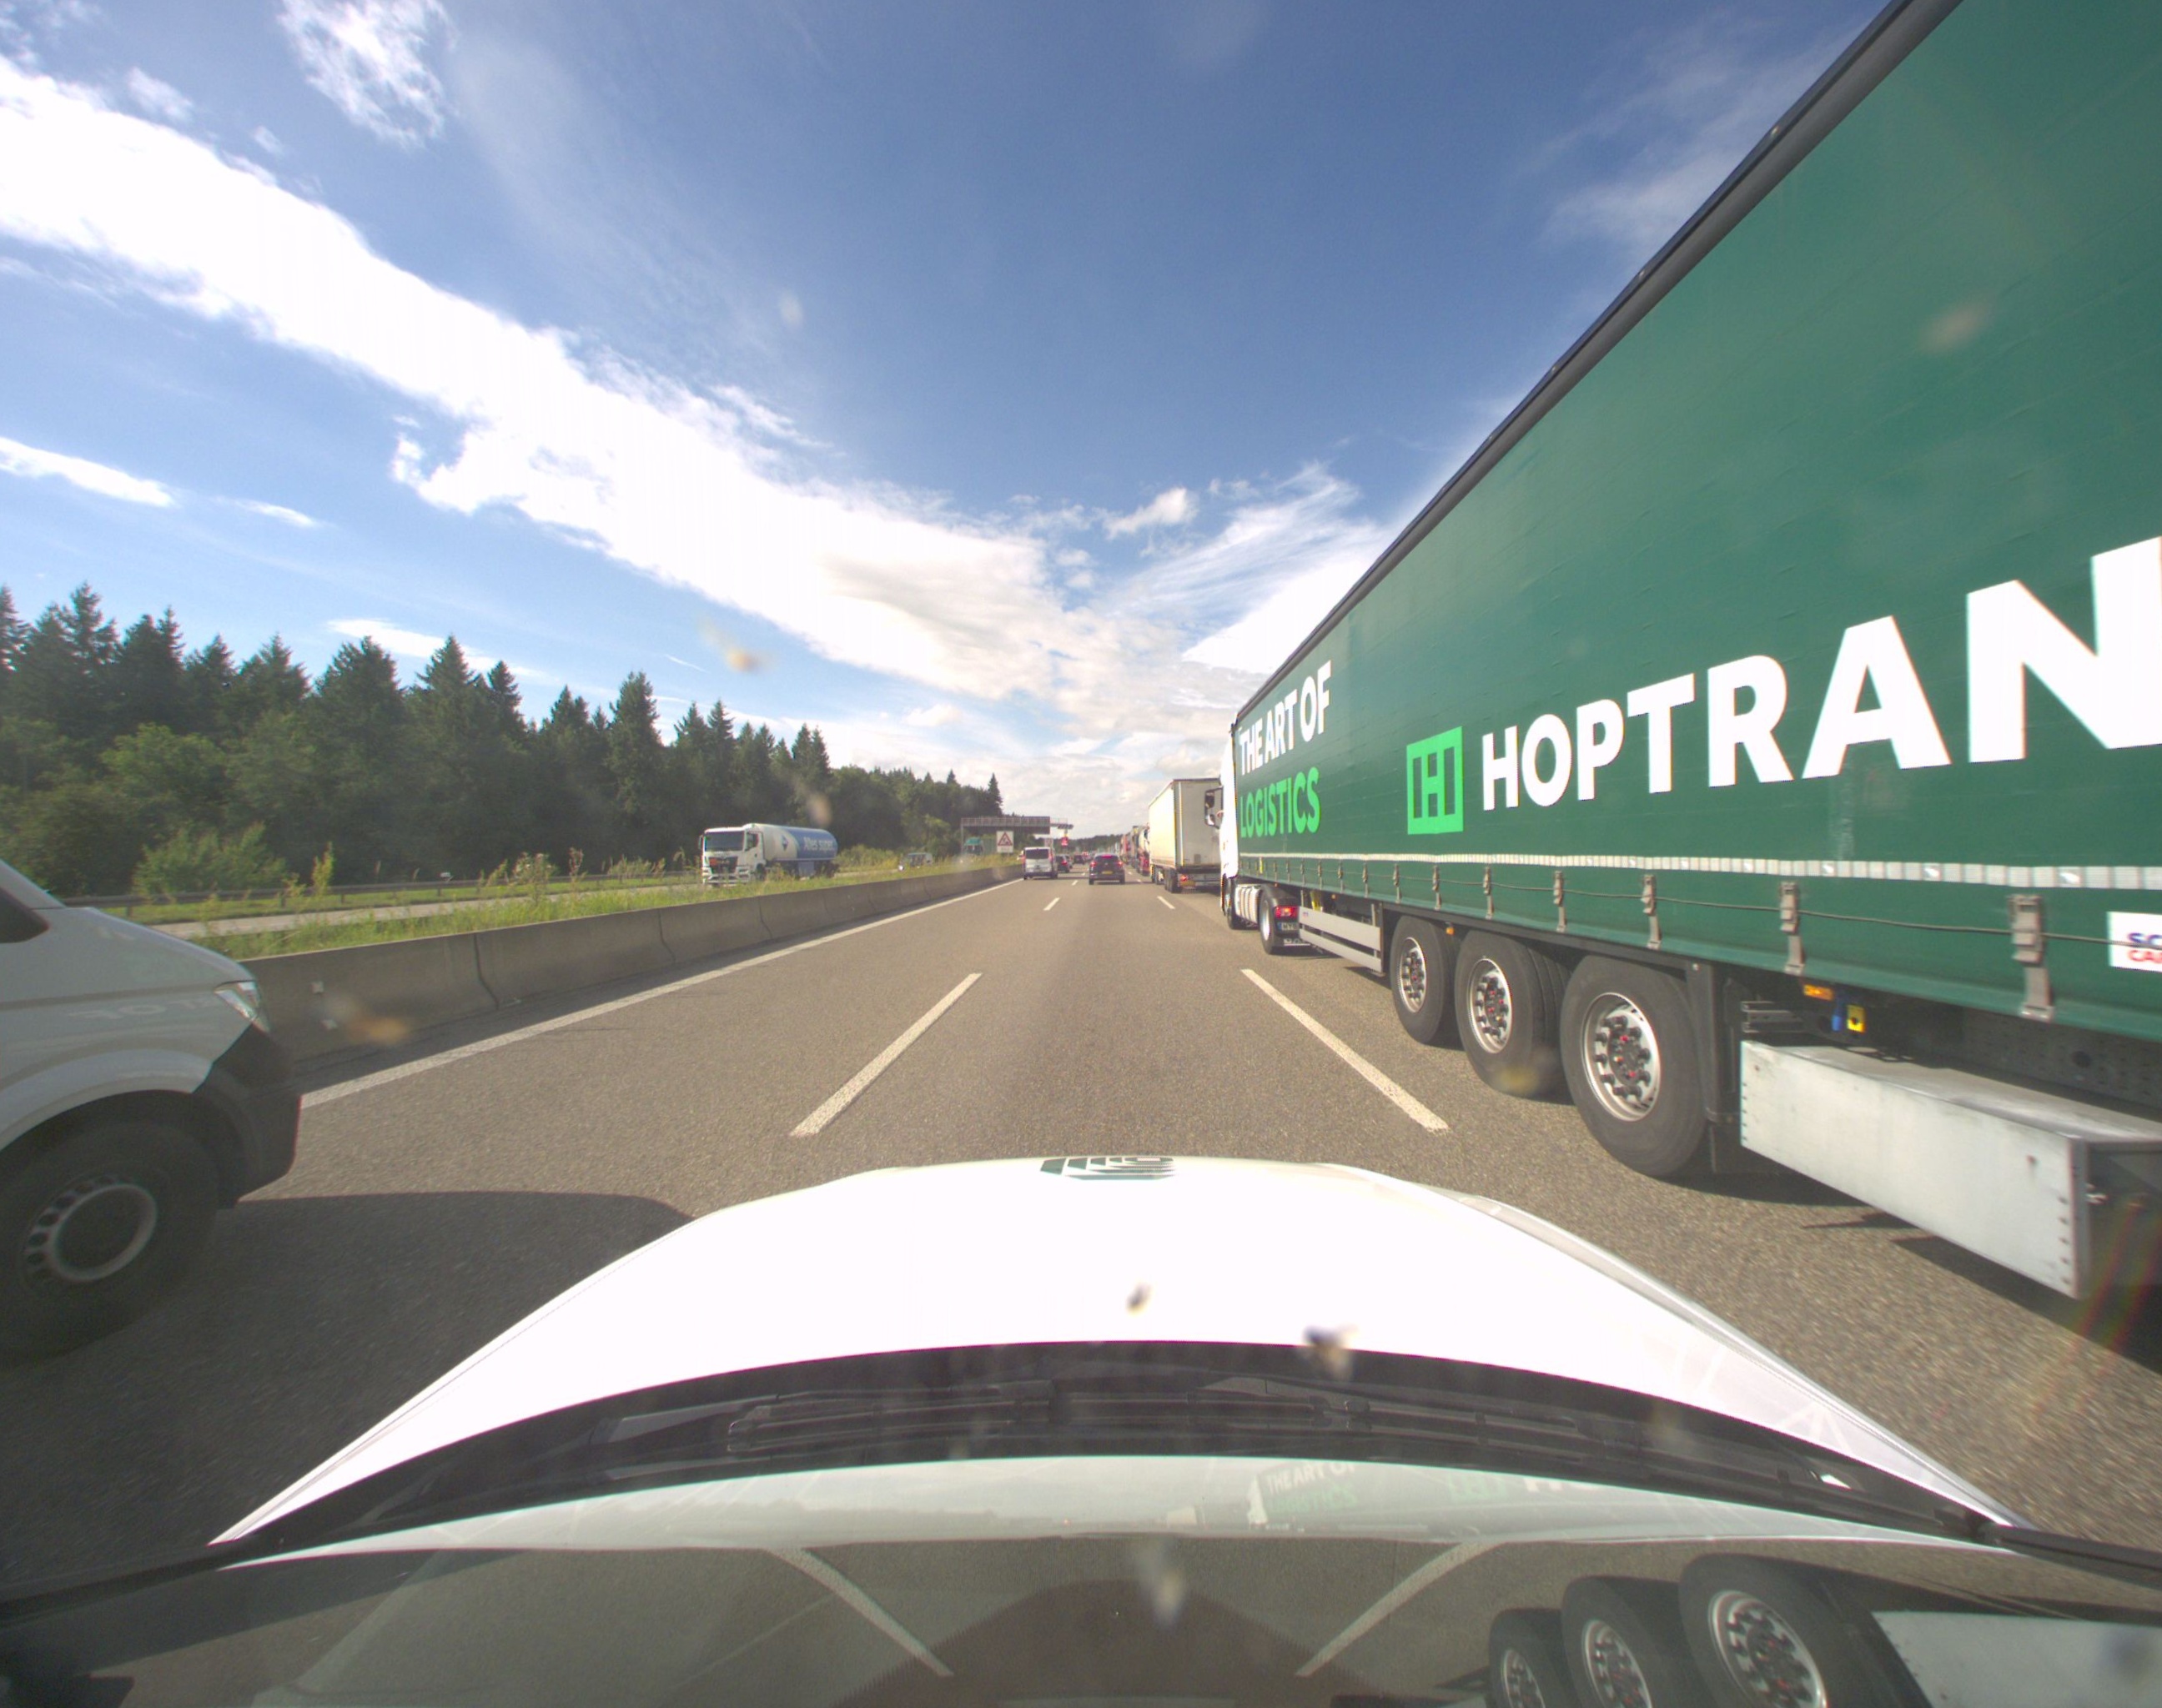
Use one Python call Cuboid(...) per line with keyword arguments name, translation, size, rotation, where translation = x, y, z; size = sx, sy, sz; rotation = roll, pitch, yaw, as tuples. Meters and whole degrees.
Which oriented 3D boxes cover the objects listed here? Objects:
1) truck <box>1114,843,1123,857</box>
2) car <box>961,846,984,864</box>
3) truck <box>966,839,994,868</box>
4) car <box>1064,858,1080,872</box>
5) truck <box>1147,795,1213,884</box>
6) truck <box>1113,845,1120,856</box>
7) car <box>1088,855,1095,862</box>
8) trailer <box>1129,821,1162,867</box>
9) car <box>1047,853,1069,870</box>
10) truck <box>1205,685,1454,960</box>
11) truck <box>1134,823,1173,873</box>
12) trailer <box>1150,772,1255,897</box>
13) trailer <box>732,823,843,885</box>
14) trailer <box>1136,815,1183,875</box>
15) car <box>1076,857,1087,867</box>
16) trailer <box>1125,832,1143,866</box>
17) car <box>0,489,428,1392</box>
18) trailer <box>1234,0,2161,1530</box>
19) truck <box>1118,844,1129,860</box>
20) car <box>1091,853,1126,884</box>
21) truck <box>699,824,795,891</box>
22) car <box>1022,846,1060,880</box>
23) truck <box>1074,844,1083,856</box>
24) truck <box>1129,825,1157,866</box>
Cuboid(name="truck", translation=(8.437, -0.872, 184.218), size=(1.986, 3.052, 4.984), rotation=(2, 0, 2))
Cuboid(name="car", translation=(-12.029, 0.074, 90.310), size=(1.753, 1.882, 4.002), rotation=(2, 0, 2))
Cuboid(name="truck", translation=(-15.115, -0.044, 123.028), size=(2.701, 4.244, 10.346), rotation=(-1, 0, 1))
Cuboid(name="car", translation=(-0.930, 1.091, 83.955), size=(1.494, 1.396, 3.477), rotation=(2, 0, 2))
Cuboid(name="truck", translation=(4.846, -0.663, 41.000), size=(2.698, 4.060, 6.364), rotation=(-1, 0, 2))
Cuboid(name="truck", translation=(9.986, -0.997, 227.896), size=(1.986, 3.052, 4.984), rotation=(2, 0, 2))
Cuboid(name="car", translation=(2.120, 0.892, 169.051), size=(1.356, 1.301, 3.085), rotation=(2, 0, 2))
Cuboid(name="trailer", translation=(6.308, -0.871, 80.927), size=(2.791, 4.244, 11.063), rotation=(-1, 0, 3))
Cuboid(name="car", translation=(-1.841, 0.603, 65.772), size=(1.494, 1.396, 3.477), rotation=(0, 0, 2))
Cuboid(name="truck", translation=(4.056, -0.429, 15.059), size=(2.637, 3.869, 6.999), rotation=(-1, 0, 2))
Cuboid(name="truck", translation=(5.463, -0.442, 62.418), size=(2.524, 3.584, 6.732), rotation=(-1, 0, 2))
Cuboid(name="trailer", translation=(4.584, -0.664, 33.500), size=(2.692, 4.082, 12.950), rotation=(-1, 0, 2))
Cuboid(name="trailer", translation=(-17.124, -0.025, 48.612), size=(2.312, 3.284, 10.881), rotation=(0, 0, 2))
Cuboid(name="trailer", translation=(5.211, -0.517, 55.752), size=(2.531, 3.654, 10.631), rotation=(-1, 0, 2))
Cuboid(name="car", translation=(0.152, 1.085, 116.110), size=(1.429, 1.310, 3.534), rotation=(2, 0, 1))
Cuboid(name="trailer", translation=(6.971, -0.605, 107.415), size=(2.141, 4.259, 8.445), rotation=(-1, 0, 2))
Cuboid(name="car", translation=(-4.152, 0.256, 0.734), size=(2.008, 2.599, 6.183), rotation=(-1, 0, 1))
Cuboid(name="trailer", translation=(3.789, -0.489, 7.543), size=(2.651, 3.869, 13.400), rotation=(-1, 0, 2))
Cuboid(name="truck", translation=(8.270, -0.411, 157.430), size=(1.986, 2.932, 4.984), rotation=(2, 0, 2))
Cuboid(name="car", translation=(1.397, 0.737, 41.366), size=(1.690, 1.483, 4.161), rotation=(0, -1, 2))
Cuboid(name="truck", translation=(-17.332, 0.177, 42.706), size=(2.308, 3.273, 6.108), rotation=(0, 0, 2))
Cuboid(name="car", translation=(-2.451, 0.560, 51.270), size=(1.925, 1.979, 5.100), rotation=(2, 0, 2))
Cuboid(name="truck", translation=(-0.698, -1.172, 248.734), size=(2.335, 3.594, 6.308), rotation=(2, 0, 2))
Cuboid(name="truck", translation=(6.635, -0.854, 87.591), size=(2.774, 4.247, 6.464), rotation=(-1, -1, 3))
